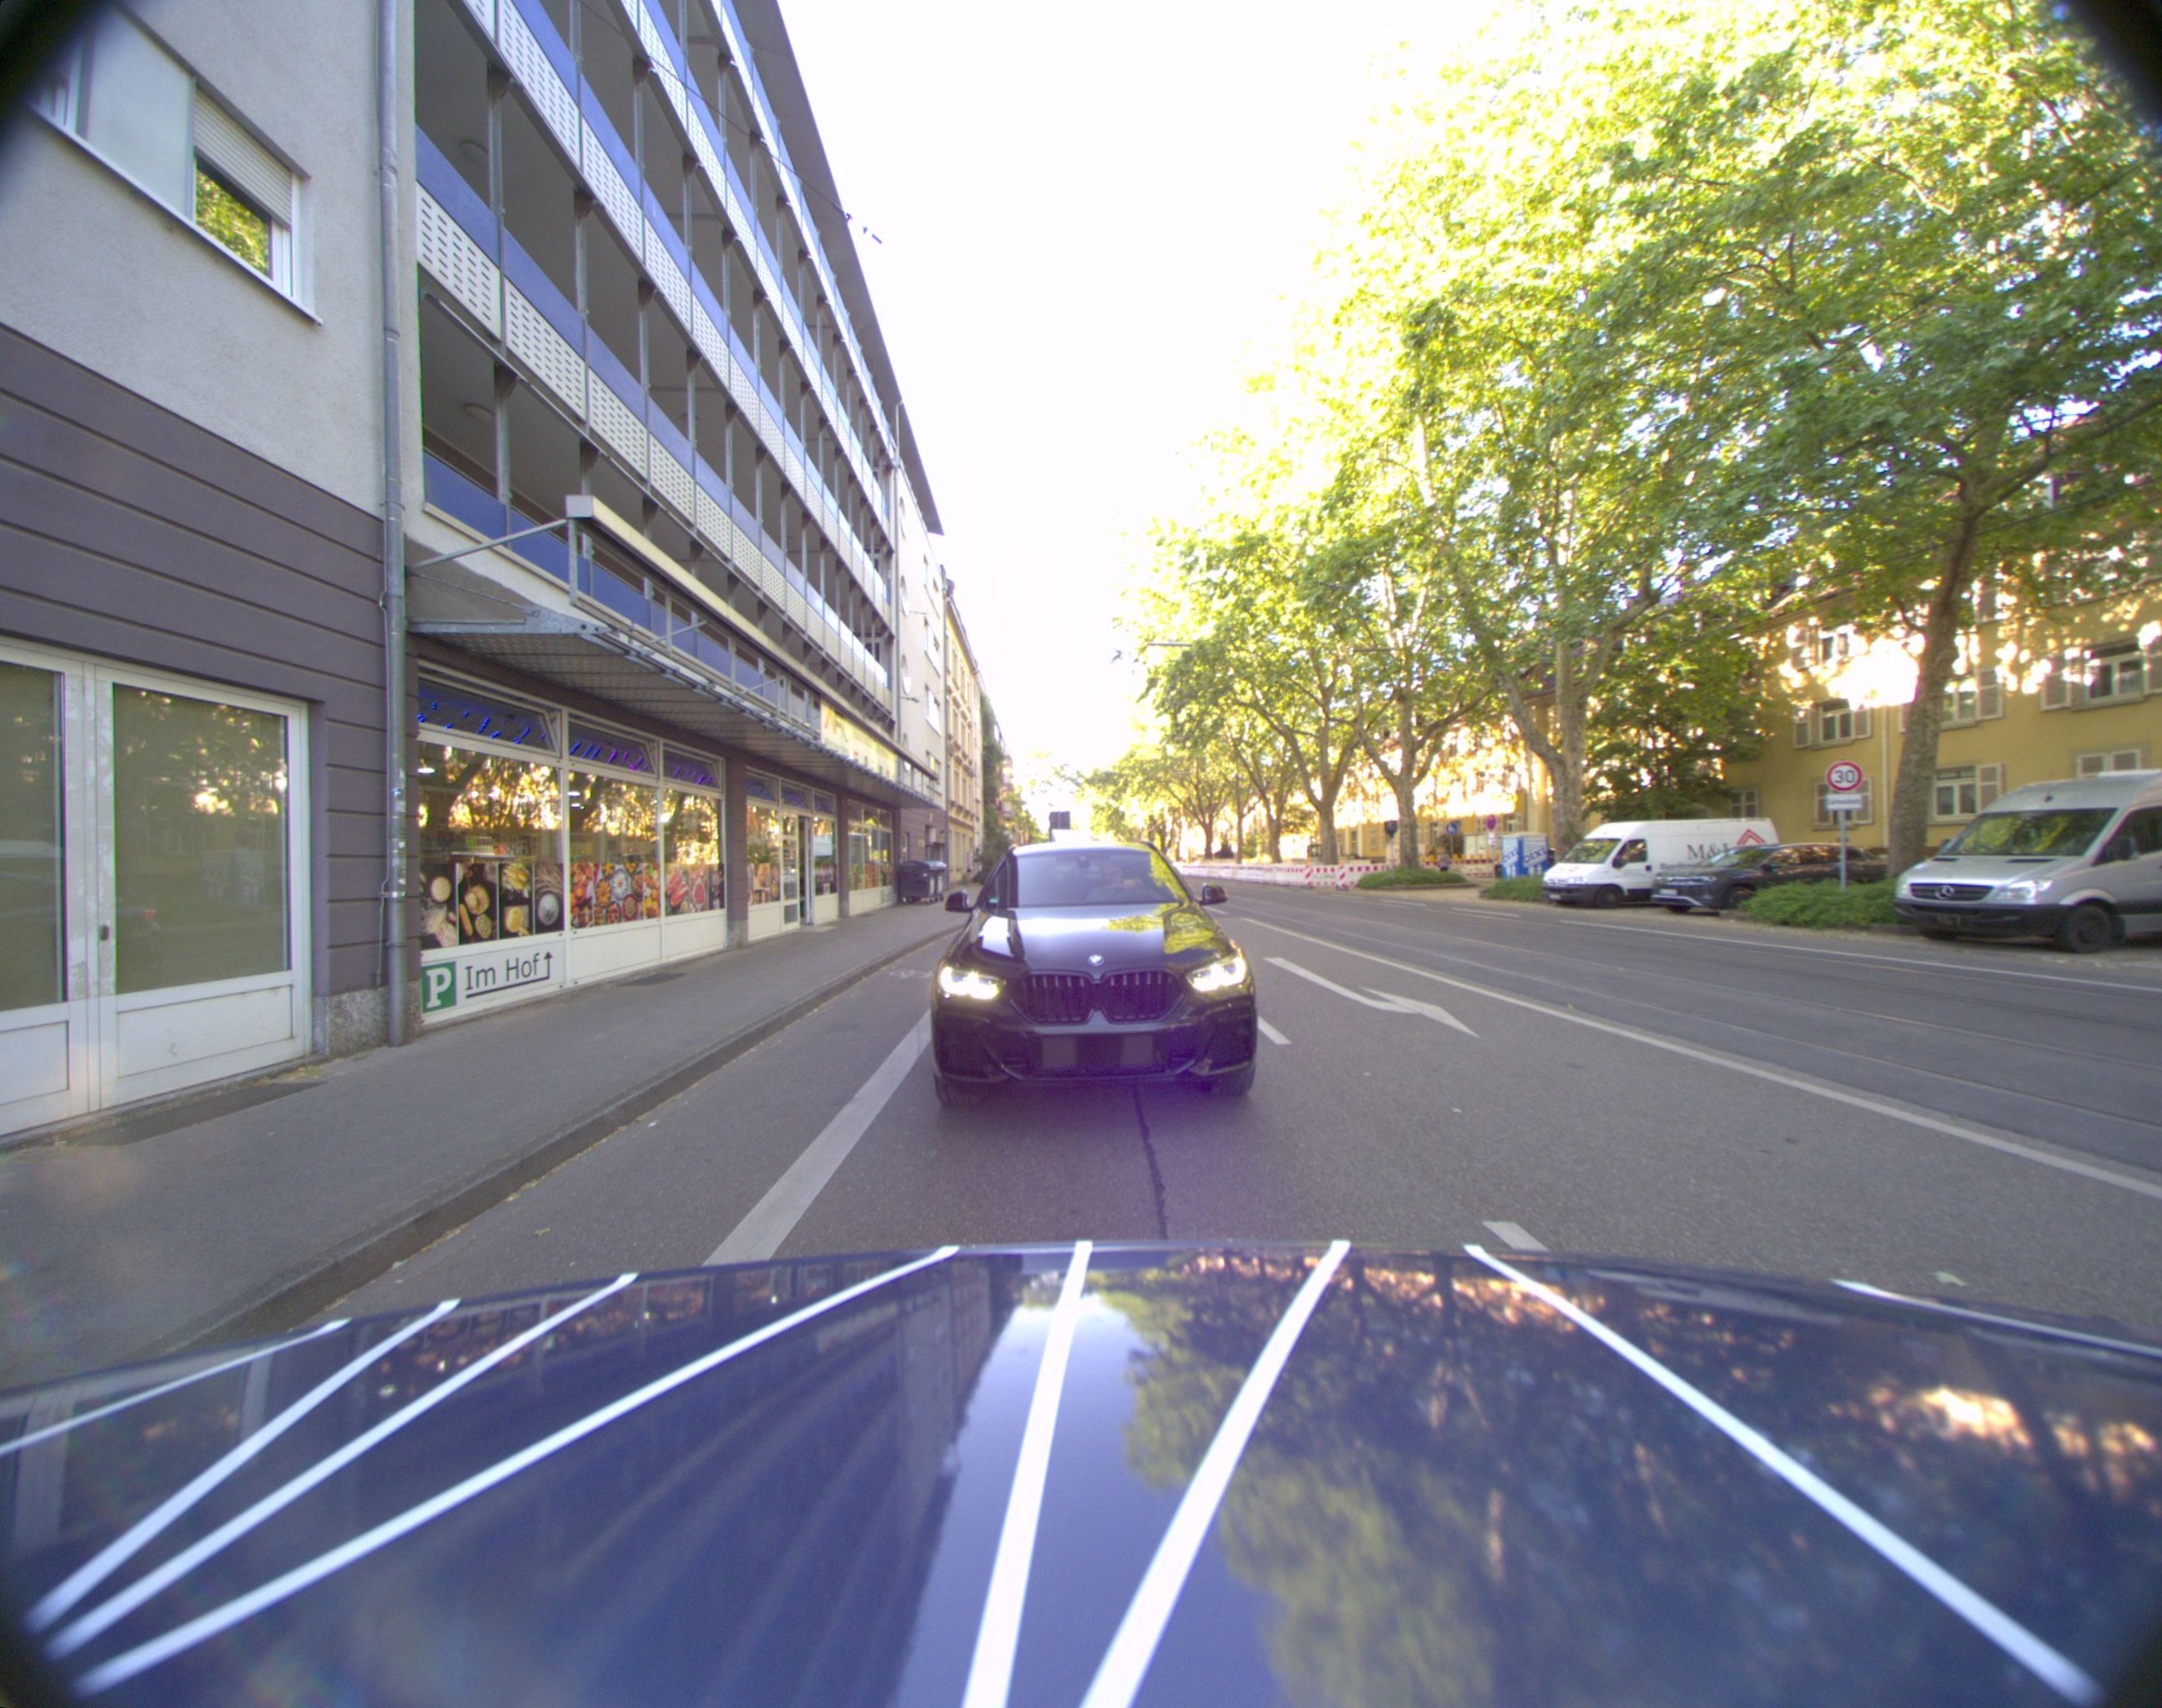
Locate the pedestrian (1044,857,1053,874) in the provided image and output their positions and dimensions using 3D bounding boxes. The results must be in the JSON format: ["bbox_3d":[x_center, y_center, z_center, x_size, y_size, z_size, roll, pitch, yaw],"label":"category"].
[{"bbox_3d":[-3.501,1.217,81.303,0.876,1.728,0.848,-3,1,1],"label":"pedestrian"}]

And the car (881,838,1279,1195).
[{"bbox_3d":[0.019,0.828,6.058,1.943,1.733,4.475,-2,0,1],"label":"car"}]

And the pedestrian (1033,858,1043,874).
[{"bbox_3d":[-4.591,1.272,81.128,0.876,1.728,0.848,-3,1,1],"label":"pedestrian"}]

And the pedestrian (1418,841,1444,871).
[{"bbox_3d":[23.727,0.124,51.540,1.098,2.002,1.235,-1,0,-4],"label":"pedestrian"}]

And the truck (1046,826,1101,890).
[{"bbox_3d":[-0.578,0.210,43.156,2.385,3.165,8.525,2,0,-5],"label":"truck"}]

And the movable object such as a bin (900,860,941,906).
[{"bbox_3d":[-5.230,0.939,24.812,1.069,1.438,1.296,-1,0,-1],"label":"movable object such as a bin"}]

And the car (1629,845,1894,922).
[{"bbox_3d":[15.938,0.663,17.974,4.575,1.621,1.969,-1,0,-2],"label":"car"}]

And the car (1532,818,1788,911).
[{"bbox_3d":[15.850,0.281,21.000,5.612,2.361,2.025,-1,0,-2],"label":"car"}]

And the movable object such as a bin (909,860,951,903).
[{"bbox_3d":[-5.289,0.959,26.707,1.122,1.437,1.306,-1,0,4],"label":"movable object such as a bin"}]

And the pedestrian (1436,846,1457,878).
[{"bbox_3d":[18.223,0.414,37.920,0.597,1.563,0.716,-1,0,-15],"label":"pedestrian"}]

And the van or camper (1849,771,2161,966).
[{"bbox_3d":[16.087,0.134,11.800,6.127,2.661,2.229,-2,0,-2],"label":"van or camper"}]
